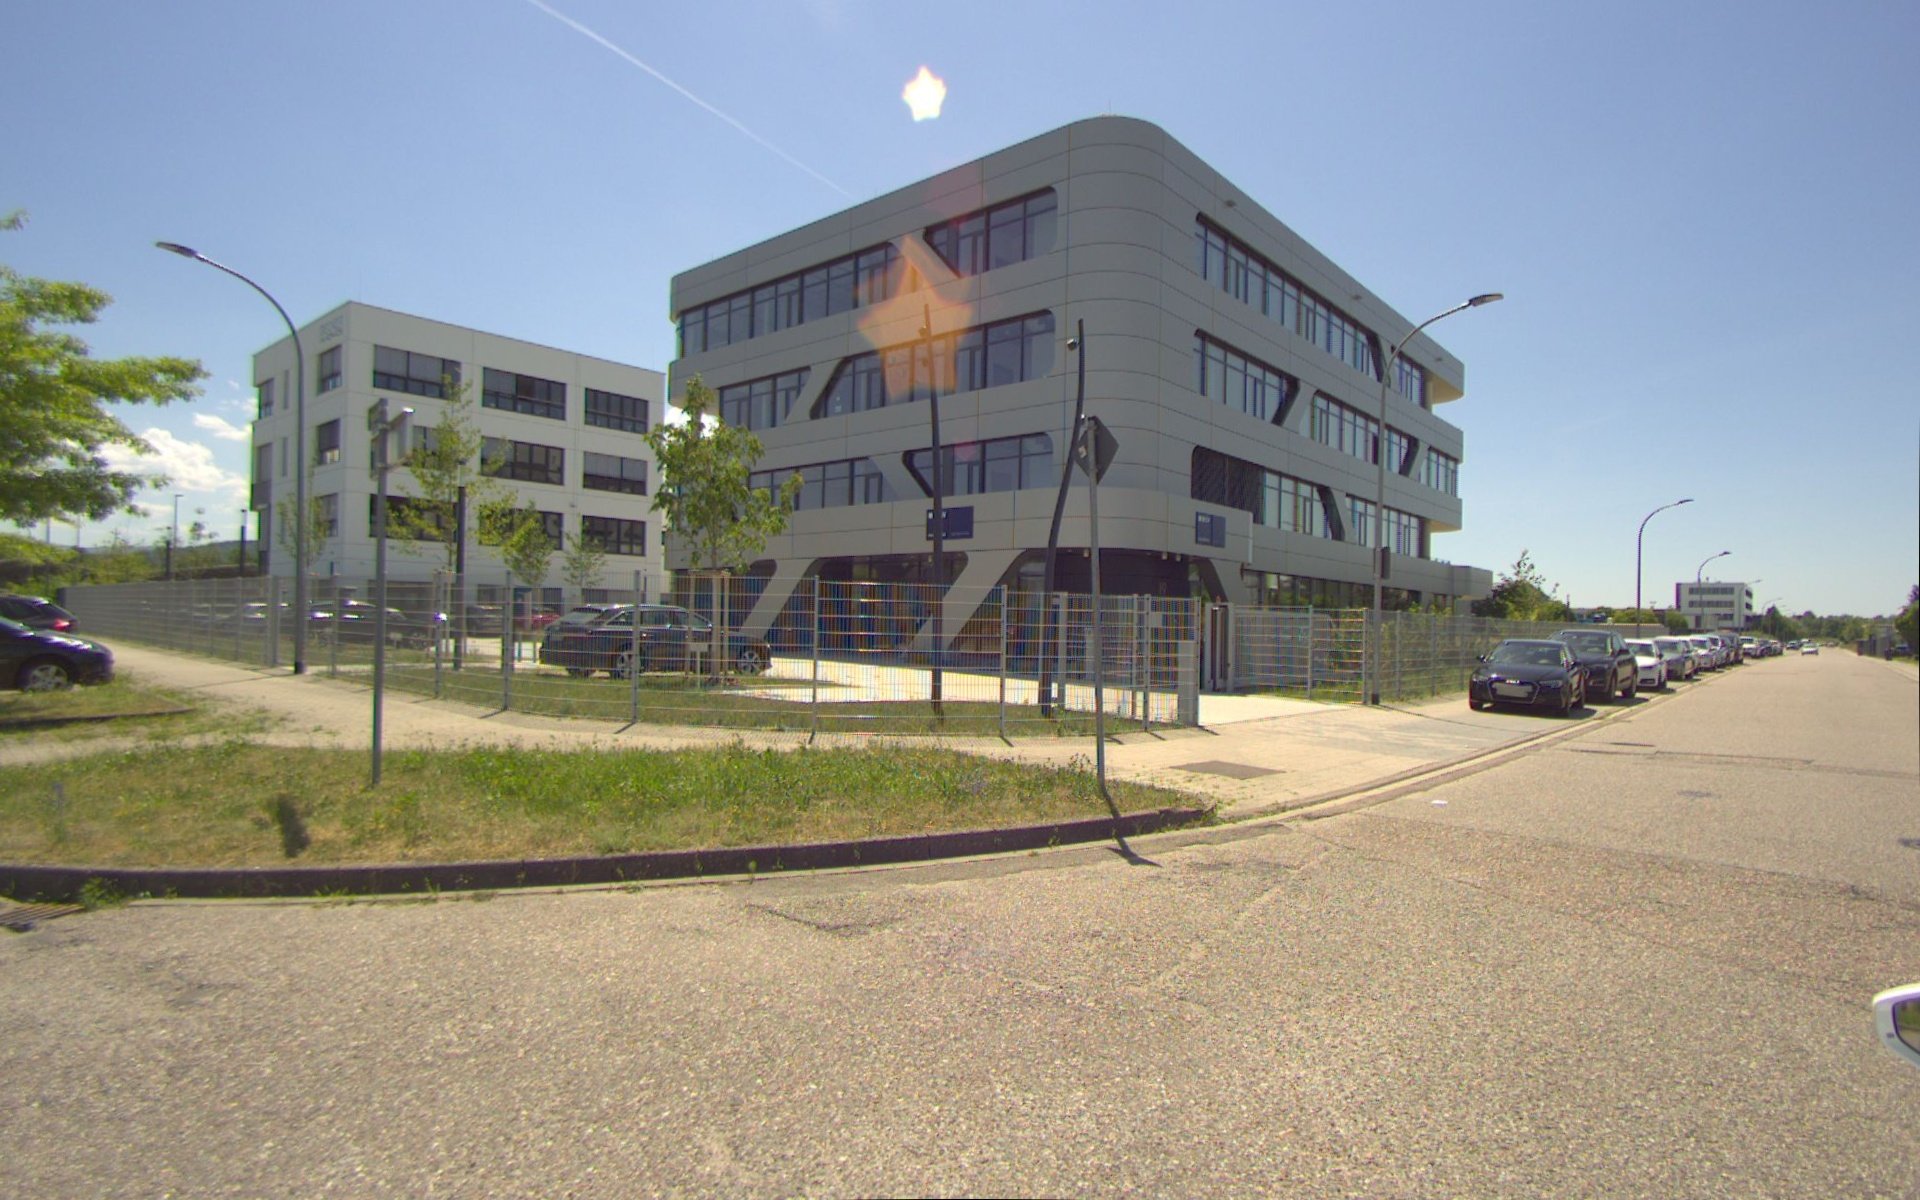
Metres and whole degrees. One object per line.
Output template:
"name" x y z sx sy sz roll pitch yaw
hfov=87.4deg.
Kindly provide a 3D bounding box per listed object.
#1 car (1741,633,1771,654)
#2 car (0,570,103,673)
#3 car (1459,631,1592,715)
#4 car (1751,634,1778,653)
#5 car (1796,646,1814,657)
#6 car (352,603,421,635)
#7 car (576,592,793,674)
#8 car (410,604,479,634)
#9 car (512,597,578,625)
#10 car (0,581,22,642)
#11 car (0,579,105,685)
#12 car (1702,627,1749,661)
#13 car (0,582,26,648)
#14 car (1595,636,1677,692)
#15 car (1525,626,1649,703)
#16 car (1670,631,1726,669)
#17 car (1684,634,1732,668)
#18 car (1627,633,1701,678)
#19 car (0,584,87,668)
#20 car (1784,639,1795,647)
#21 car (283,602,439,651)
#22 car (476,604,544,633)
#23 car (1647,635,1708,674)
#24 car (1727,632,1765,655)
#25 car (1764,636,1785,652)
"car" 64.540 3.532 81.458 1.742 1.537 4.359 2 -1 40
"car" -16.453 0.342 15.938 1.589 1.642 4.227 0 0 44
"car" 11.775 1.416 20.787 1.748 1.486 4.168 1 -1 39
"car" 73.407 3.940 91.654 1.769 1.628 4.442 1 -1 40
"car" 116.647 7.095 138.625 1.683 1.430 4.764 -2 -2 38
"car" -28.779 0.933 50.354 4.044 1.531 1.768 0 -2 41
"car" -5.622 0.684 20.888 1.750 1.531 4.085 0 -2 40
"car" -26.869 0.979 52.331 4.044 1.531 1.768 0 -2 41
"car" -23.270 0.625 56.221 4.044 1.531 1.768 0 -2 41
"car" -25.270 0.277 23.975 1.588 1.495 4.095 0 0 41
"car" -14.601 0.449 14.150 1.589 1.495 3.775 0 0 44
"car" 43.178 2.461 56.607 1.782 1.742 4.599 2 0 41
"car" -23.404 0.334 22.065 1.588 1.495 4.095 0 0 41
"car" 19.798 1.814 29.356 1.678 1.404 3.921 1 -1 38
"car" 15.643 1.511 24.933 1.750 1.673 4.823 1 -1 43
"car" 33.026 2.201 44.910 1.683 1.556 4.550 2 0 40
"car" 36.694 2.475 49.245 1.615 1.556 3.640 2 0 40
"car" 25.394 1.947 36.179 1.665 1.404 4.614 0 -1 42
"car" -18.189 0.461 17.684 1.588 1.495 4.095 0 0 41
"car" 157.591 8.202 190.845 1.450 1.509 3.191 0 -2 41
"car" -19.676 0.877 33.122 1.750 1.531 4.085 0 -2 40
"car" -24.368 1.009 54.341 4.044 1.531 1.768 0 -2 41
"car" 29.678 2.215 41.492 1.683 1.463 4.418 2 0 40
"car" 56.228 3.123 71.805 1.767 1.563 4.340 1 -1 43
"car" 89.751 4.834 110.707 1.748 1.613 4.340 2 -1 40
